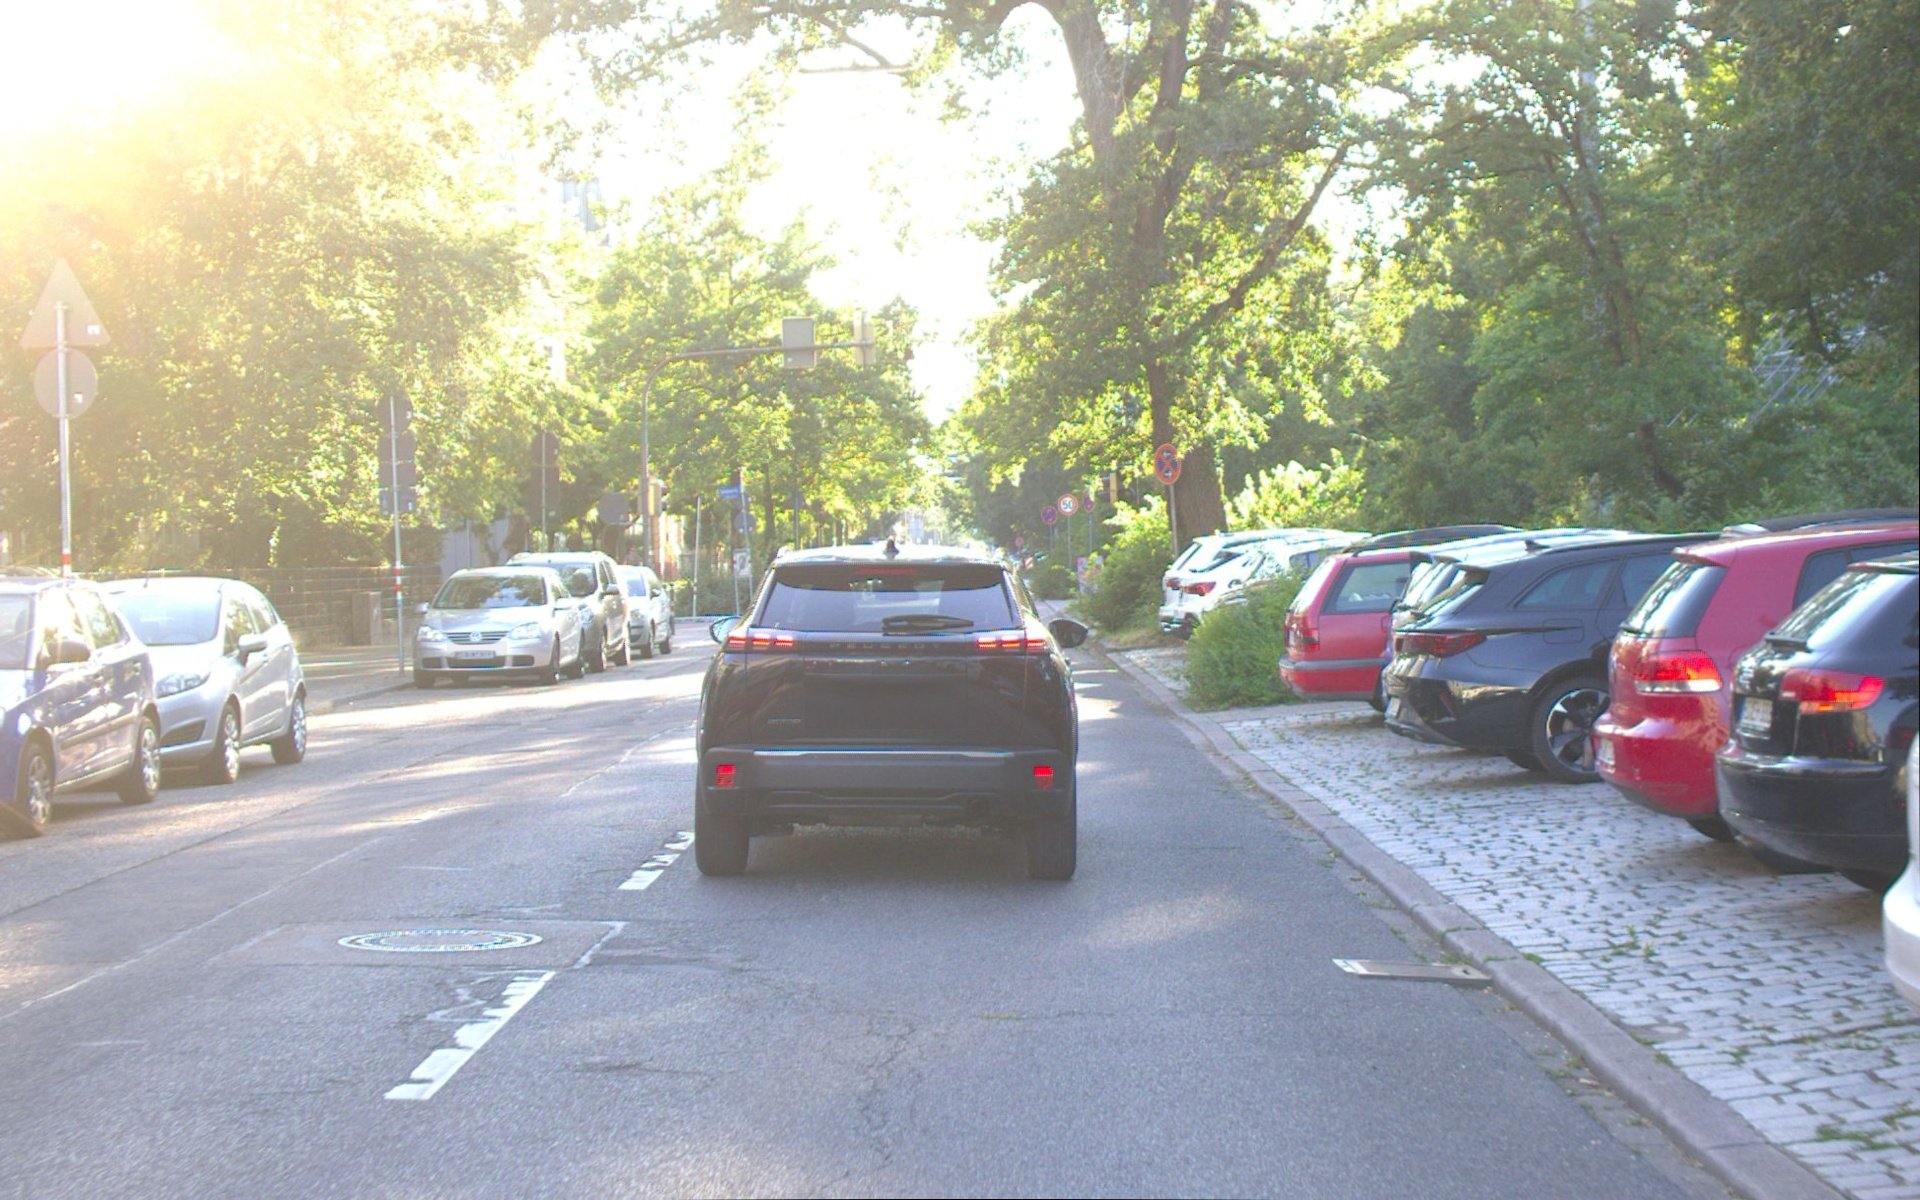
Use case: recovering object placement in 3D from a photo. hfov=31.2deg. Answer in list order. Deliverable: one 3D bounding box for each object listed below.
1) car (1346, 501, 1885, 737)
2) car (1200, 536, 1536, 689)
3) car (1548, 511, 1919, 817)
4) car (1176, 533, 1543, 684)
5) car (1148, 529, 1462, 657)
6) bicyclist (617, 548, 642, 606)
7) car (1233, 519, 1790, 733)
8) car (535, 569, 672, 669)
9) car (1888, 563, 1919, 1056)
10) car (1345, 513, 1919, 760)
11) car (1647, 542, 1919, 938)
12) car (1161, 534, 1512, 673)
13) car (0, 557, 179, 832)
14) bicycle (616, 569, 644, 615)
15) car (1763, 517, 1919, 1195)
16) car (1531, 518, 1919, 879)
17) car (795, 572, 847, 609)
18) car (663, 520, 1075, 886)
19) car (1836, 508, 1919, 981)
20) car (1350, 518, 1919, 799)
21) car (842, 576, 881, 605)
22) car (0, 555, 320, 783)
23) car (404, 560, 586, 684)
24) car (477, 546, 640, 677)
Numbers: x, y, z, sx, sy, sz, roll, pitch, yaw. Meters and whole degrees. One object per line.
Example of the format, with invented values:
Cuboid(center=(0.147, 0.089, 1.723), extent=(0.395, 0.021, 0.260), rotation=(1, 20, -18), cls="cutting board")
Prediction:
Cuboid(center=(5.026, 0.138, 26.684), extent=(3.711, 1.550, 1.742), rotation=(-3, 0, -3), cls="car")
Cuboid(center=(4.663, 0.149, 39.673), extent=(3.588, 1.561, 1.818), rotation=(-3, -1, 0), cls="car")
Cuboid(center=(5.289, 0.258, 18.644), extent=(3.807, 1.470, 1.832), rotation=(-4, 0, 1), cls="car")
Cuboid(center=(4.283, 0.082, 37.262), extent=(3.744, 1.589, 1.697), rotation=(0, 0, -1), cls="car")
Cuboid(center=(4.680, -0.096, 46.890), extent=(4.171, 1.704, 1.867), rotation=(0, 0, 5), cls="car")
Cuboid(center=(-9.057, -0.635, 94.214), extent=(0.675, 1.598, 0.706), rotation=(0, 0, -7), cls="bicyclist")
Cuboid(center=(4.555, 0.192, 28.842), extent=(4.338, 1.470, 1.742), rotation=(-3, 1, 1), cls="car")
Cuboid(center=(-5.683, 0.277, 55.144), extent=(1.679, 1.452, 3.882), rotation=(-2, 1, 1), cls="car")
Cuboid(center=(3.559, 0.540, 5.336), extent=(3.666, 1.440, 1.735), rotation=(-4, 1, -1), cls="car")
Cuboid(center=(4.781, 0.232, 24.122), extent=(3.924, 1.449, 1.832), rotation=(-3, 0, 2), cls="car")
Cuboid(center=(4.744, 0.403, 13.293), extent=(3.749, 1.390, 1.756), rotation=(-4, 0, 1), cls="car")
Cuboid(center=(4.569, 0.036, 42.117), extent=(4.122, 1.662, 1.723), rotation=(0, 0, 1), cls="car")
Cuboid(center=(-6.055, 0.528, 20.818), extent=(1.598, 1.502, 3.787), rotation=(-2, 1, 2), cls="car")
Cuboid(center=(-9.042, -0.220, 94.118), extent=(0.686, 1.245, 2.193), rotation=(0, 0, -7), cls="bicycle")
Cuboid(center=(3.983, 0.470, 8.095), extent=(3.666, 1.547, 1.735), rotation=(-4, 1, -1), cls="car")
Cuboid(center=(4.708, 0.347, 15.764), extent=(3.807, 1.470, 1.756), rotation=(-4, 0, 1), cls="car")
Cuboid(center=(-5.364, -0.387, 132.094), extent=(1.810, 1.349, 4.001), rotation=(-1, 1, -5), cls="car")
Cuboid(center=(-0.429, 0.435, 16.812), extent=(1.768, 1.563, 3.381), rotation=(2, 1, -1), cls="car")
Cuboid(center=(4.854, 0.336, 10.661), extent=(3.725, 1.493, 1.820), rotation=(-4, 0, 1), cls="car")
Cuboid(center=(4.586, 0.314, 21.179), extent=(4.120, 1.470, 1.832), rotation=(-3, 0, 2), cls="car")
Cuboid(center=(-4.935, -0.481, 172.180), extent=(1.810, 1.349, 3.979), rotation=(-1, 1, -3), cls="car")
Cuboid(center=(-5.923, 0.451, 25.335), extent=(1.601, 1.488, 3.772), rotation=(-2, 1, 1), cls="car")
Cuboid(center=(-5.807, 0.247, 43.341), extent=(1.671, 1.489, 4.061), rotation=(0, 0, 1), cls="car")
Cuboid(center=(-5.642, 0.125, 48.747), extent=(1.679, 1.702, 4.340), rotation=(-2, 1, 1), cls="car")
